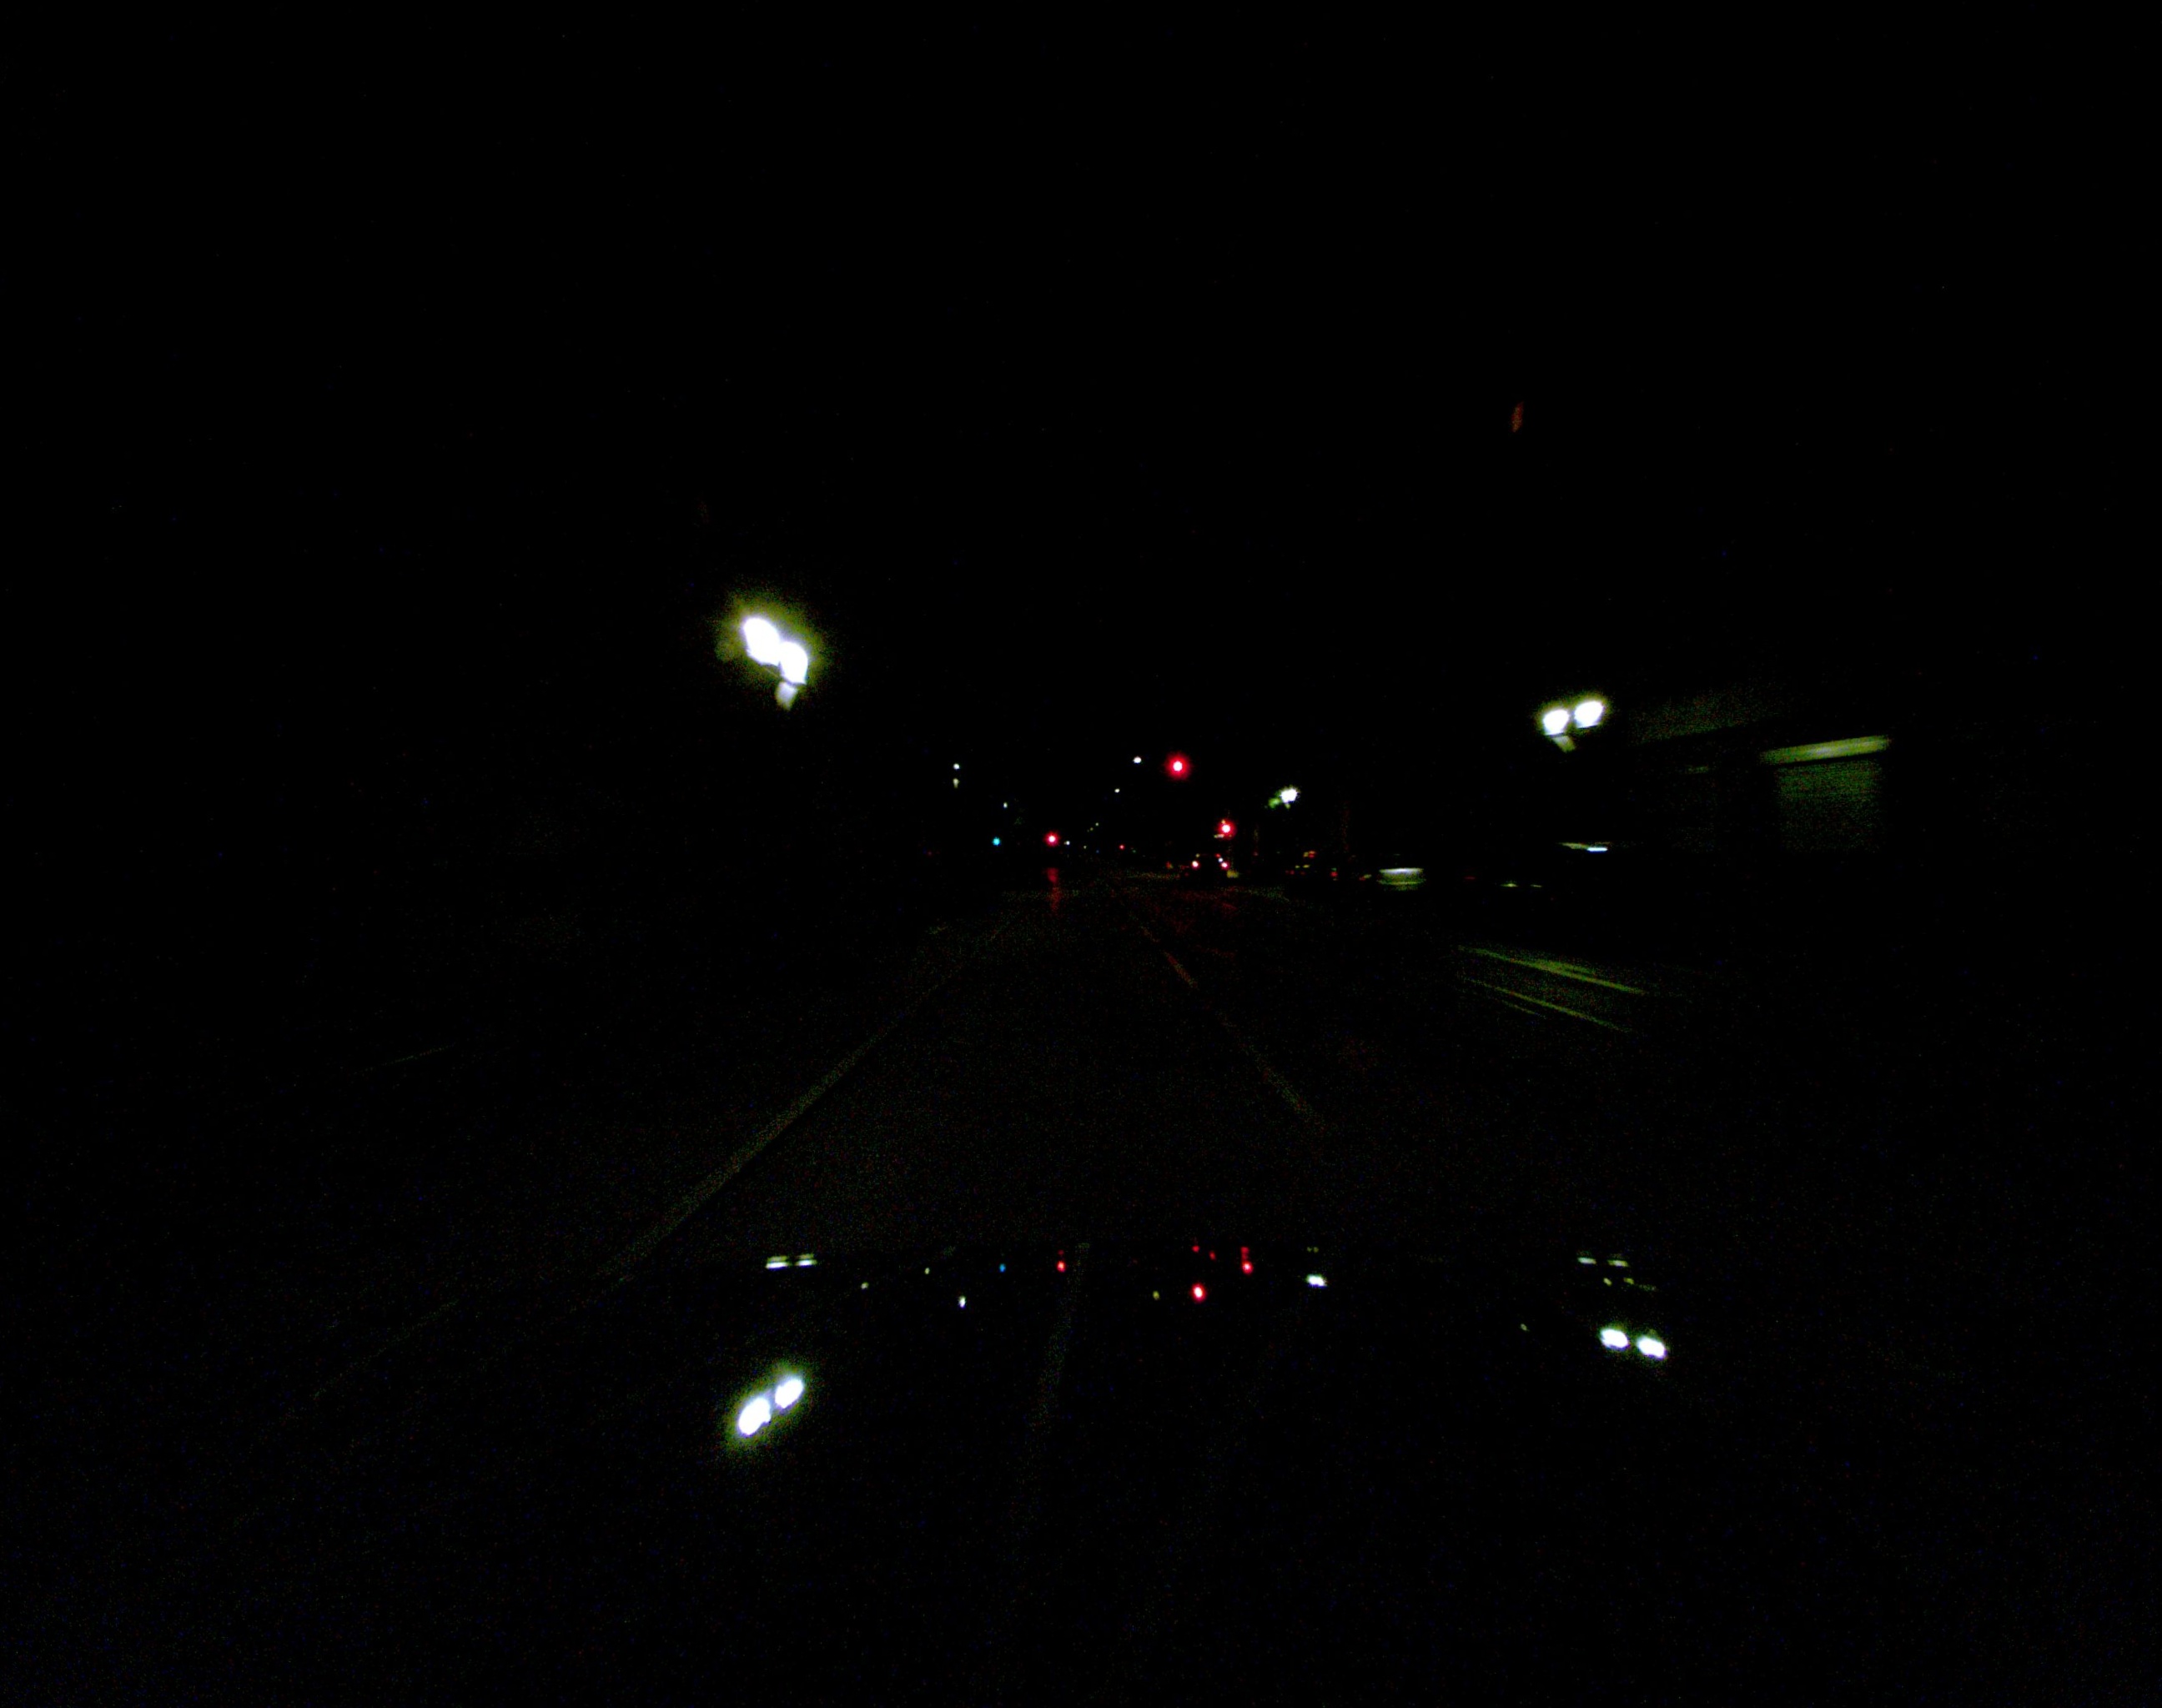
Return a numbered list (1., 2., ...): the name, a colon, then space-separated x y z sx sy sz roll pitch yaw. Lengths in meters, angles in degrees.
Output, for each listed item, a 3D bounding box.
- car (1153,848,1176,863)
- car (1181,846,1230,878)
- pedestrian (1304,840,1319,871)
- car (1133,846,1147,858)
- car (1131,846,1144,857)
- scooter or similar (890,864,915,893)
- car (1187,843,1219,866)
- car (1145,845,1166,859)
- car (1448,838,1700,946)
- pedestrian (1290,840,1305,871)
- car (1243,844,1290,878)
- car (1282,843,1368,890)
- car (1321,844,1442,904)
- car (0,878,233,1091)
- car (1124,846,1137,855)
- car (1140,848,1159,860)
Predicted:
1. car: 8.569 0.120 78.612 1.865 1.425 4.443 -2 1 0
2. car: 5.944 0.365 36.528 1.719 1.421 4.000 1 0 1
3. pedestrian: 12.628 0.091 41.657 0.710 1.680 0.998 0 1 11
4. car: 8.147 -0.291 105.153 1.555 1.425 4.347 -2 1 0
5. car: 8.168 -0.409 109.909 1.642 1.425 4.349 -2 1 0
6. scooter or similar: -7.093 0.961 30.231 0.422 1.124 1.494 0 1 8
7. car: 9.278 0.009 58.114 1.890 1.587 4.024 -2 1 2
8. car: 8.154 -0.234 83.572 1.865 1.470 4.472 -1 1 0
9. car: 8.642 0.570 13.882 1.789 1.572 4.411 -3 0 2
10. pedestrian: 11.897 0.088 41.768 0.710 1.680 1.125 0 1 11
11. car: 8.942 0.319 36.875 1.596 1.482 3.700 -3 0 5
12. car: 8.744 0.419 27.620 1.789 1.482 4.329 -3 0 2
13. car: 8.540 0.514 21.979 1.789 1.482 3.999 -3 0 -1
14. car: -9.798 0.943 6.036 4.436 1.451 1.790 0 0 6
15. car: 8.248 -0.578 126.532 1.633 1.455 3.513 0 1 -4
16. car: 8.732 0.027 96.917 1.866 1.425 4.402 -1 1 -2
